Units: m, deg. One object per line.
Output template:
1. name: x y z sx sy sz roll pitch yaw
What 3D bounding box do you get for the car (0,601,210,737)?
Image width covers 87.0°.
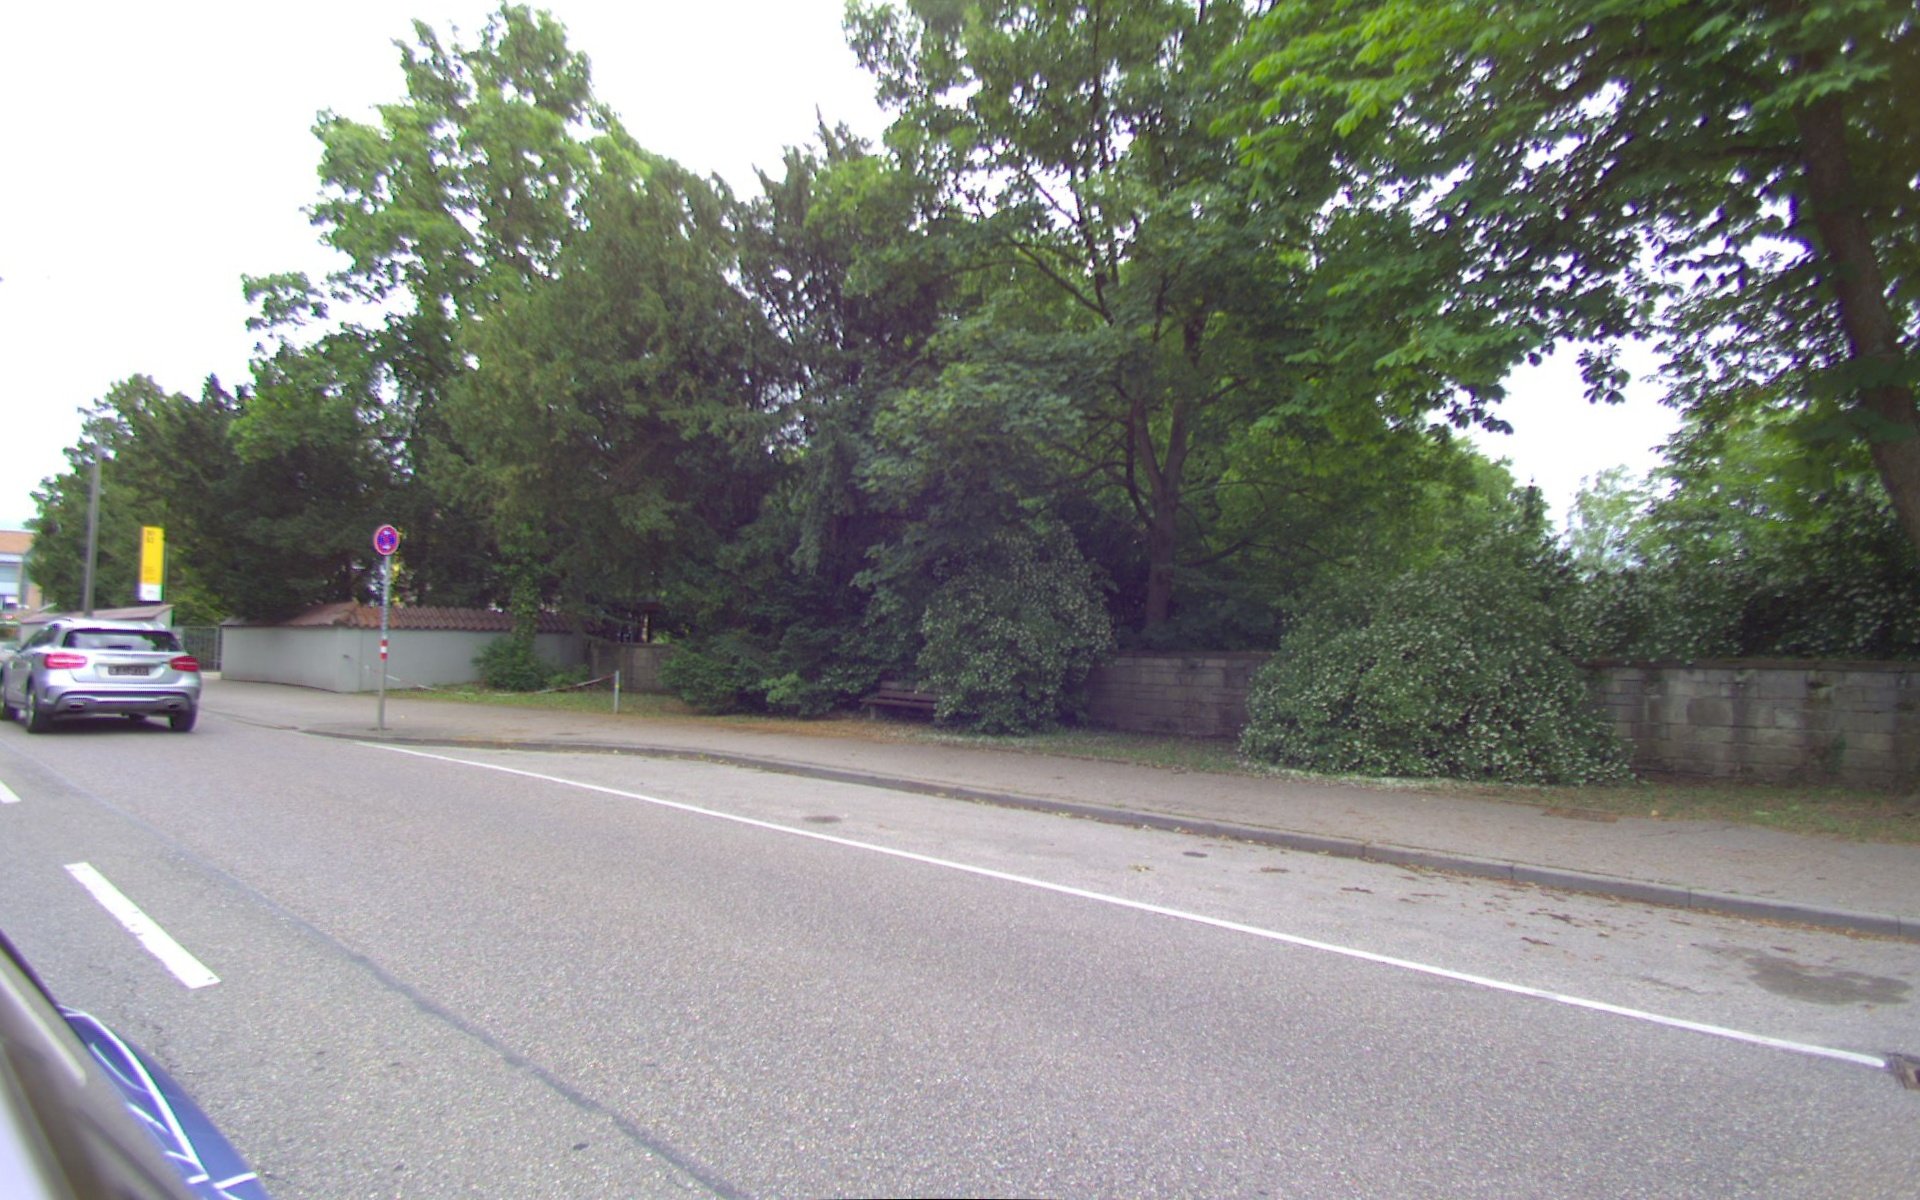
1. car: -12.434 0.949 14.429 4.117 1.666 1.767 -1 -5 40
